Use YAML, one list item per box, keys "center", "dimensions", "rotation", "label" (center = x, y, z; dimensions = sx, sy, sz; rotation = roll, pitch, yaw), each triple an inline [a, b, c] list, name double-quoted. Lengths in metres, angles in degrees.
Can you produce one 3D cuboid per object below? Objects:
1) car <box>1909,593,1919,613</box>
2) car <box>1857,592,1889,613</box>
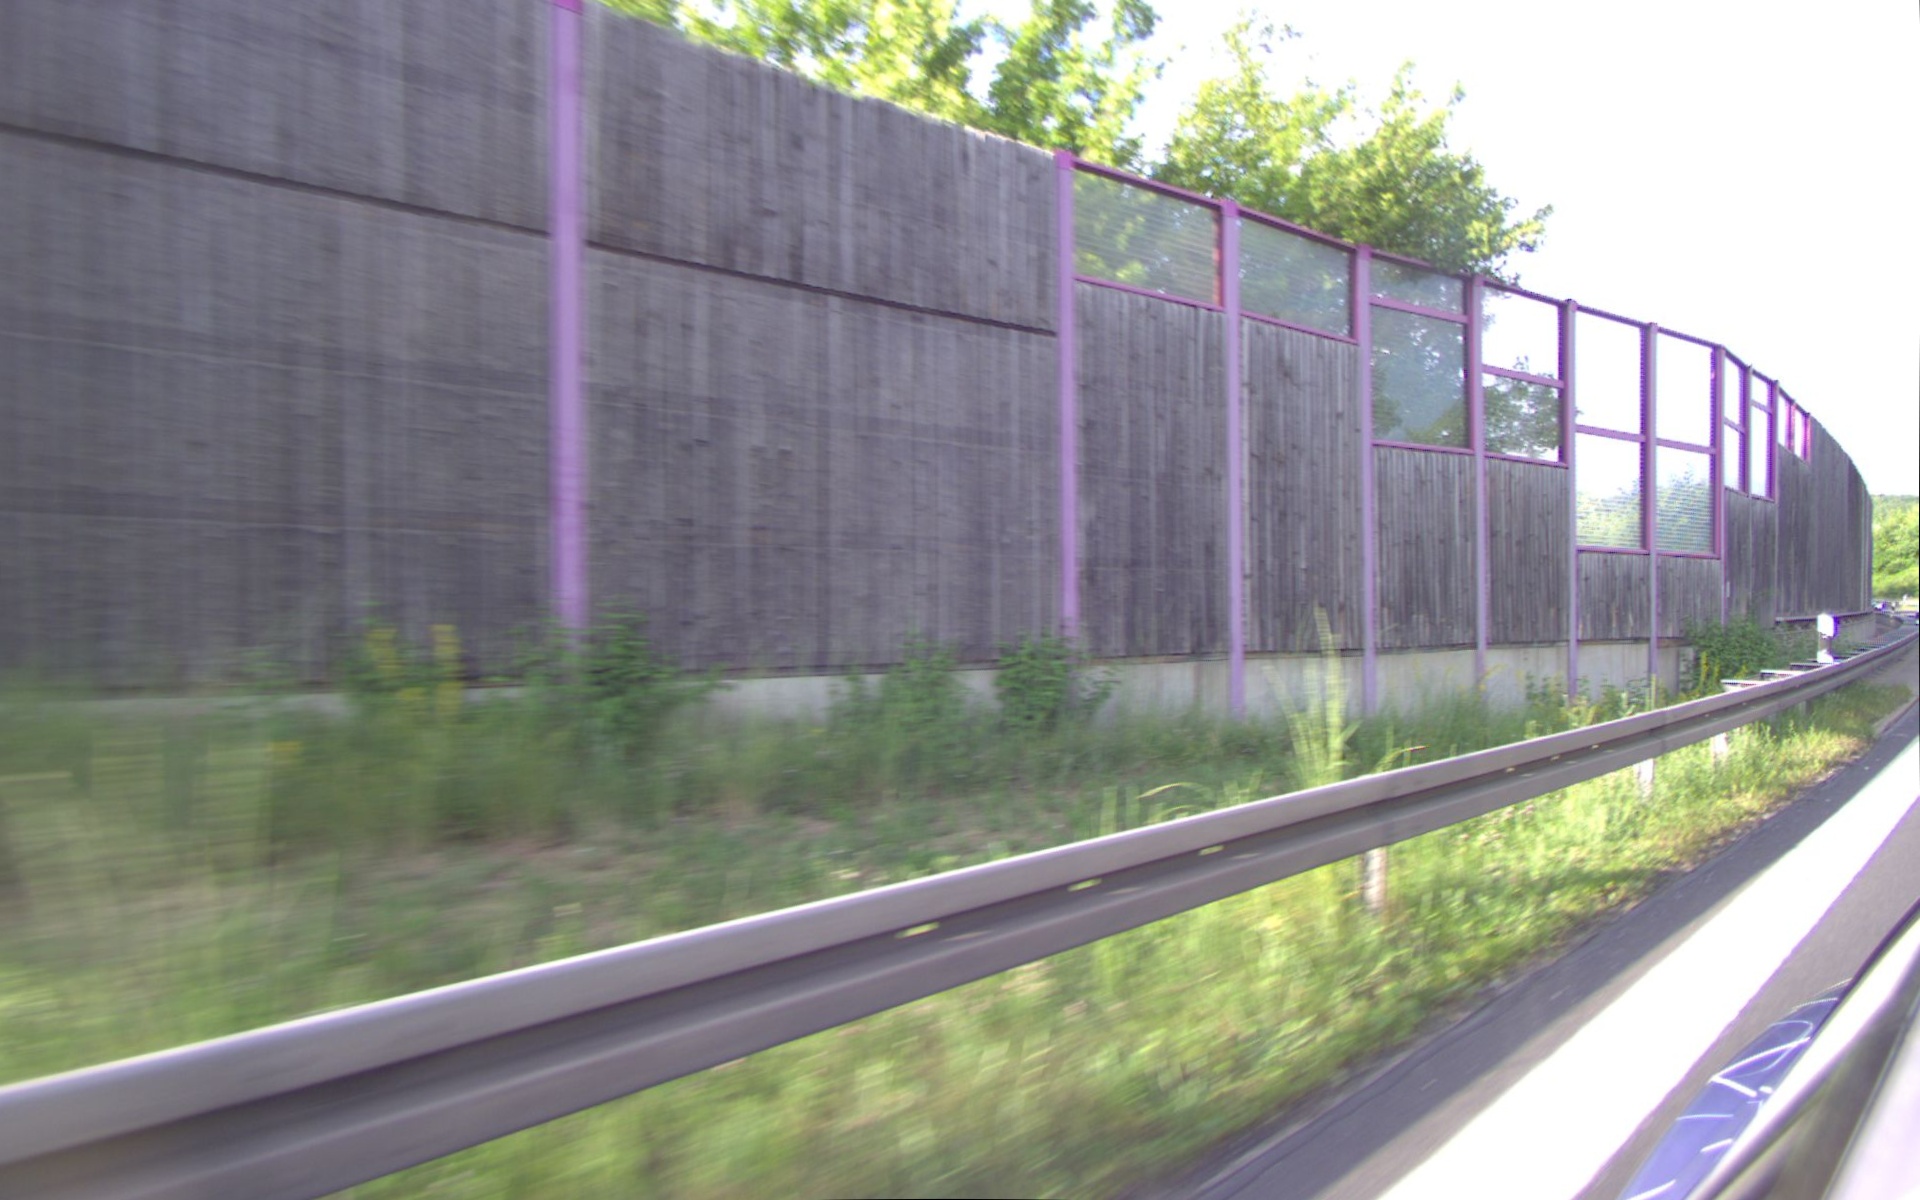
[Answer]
- center: [80.257, 0.219, 84.364]
  dimensions: [1.615, 1.478, 3.607]
  rotation: [-2, 0, 43]
  label: "car"
- center: [77.741, 0.172, 86.185]
  dimensions: [1.800, 1.738, 3.943]
  rotation: [1, 0, 39]
  label: "car"
